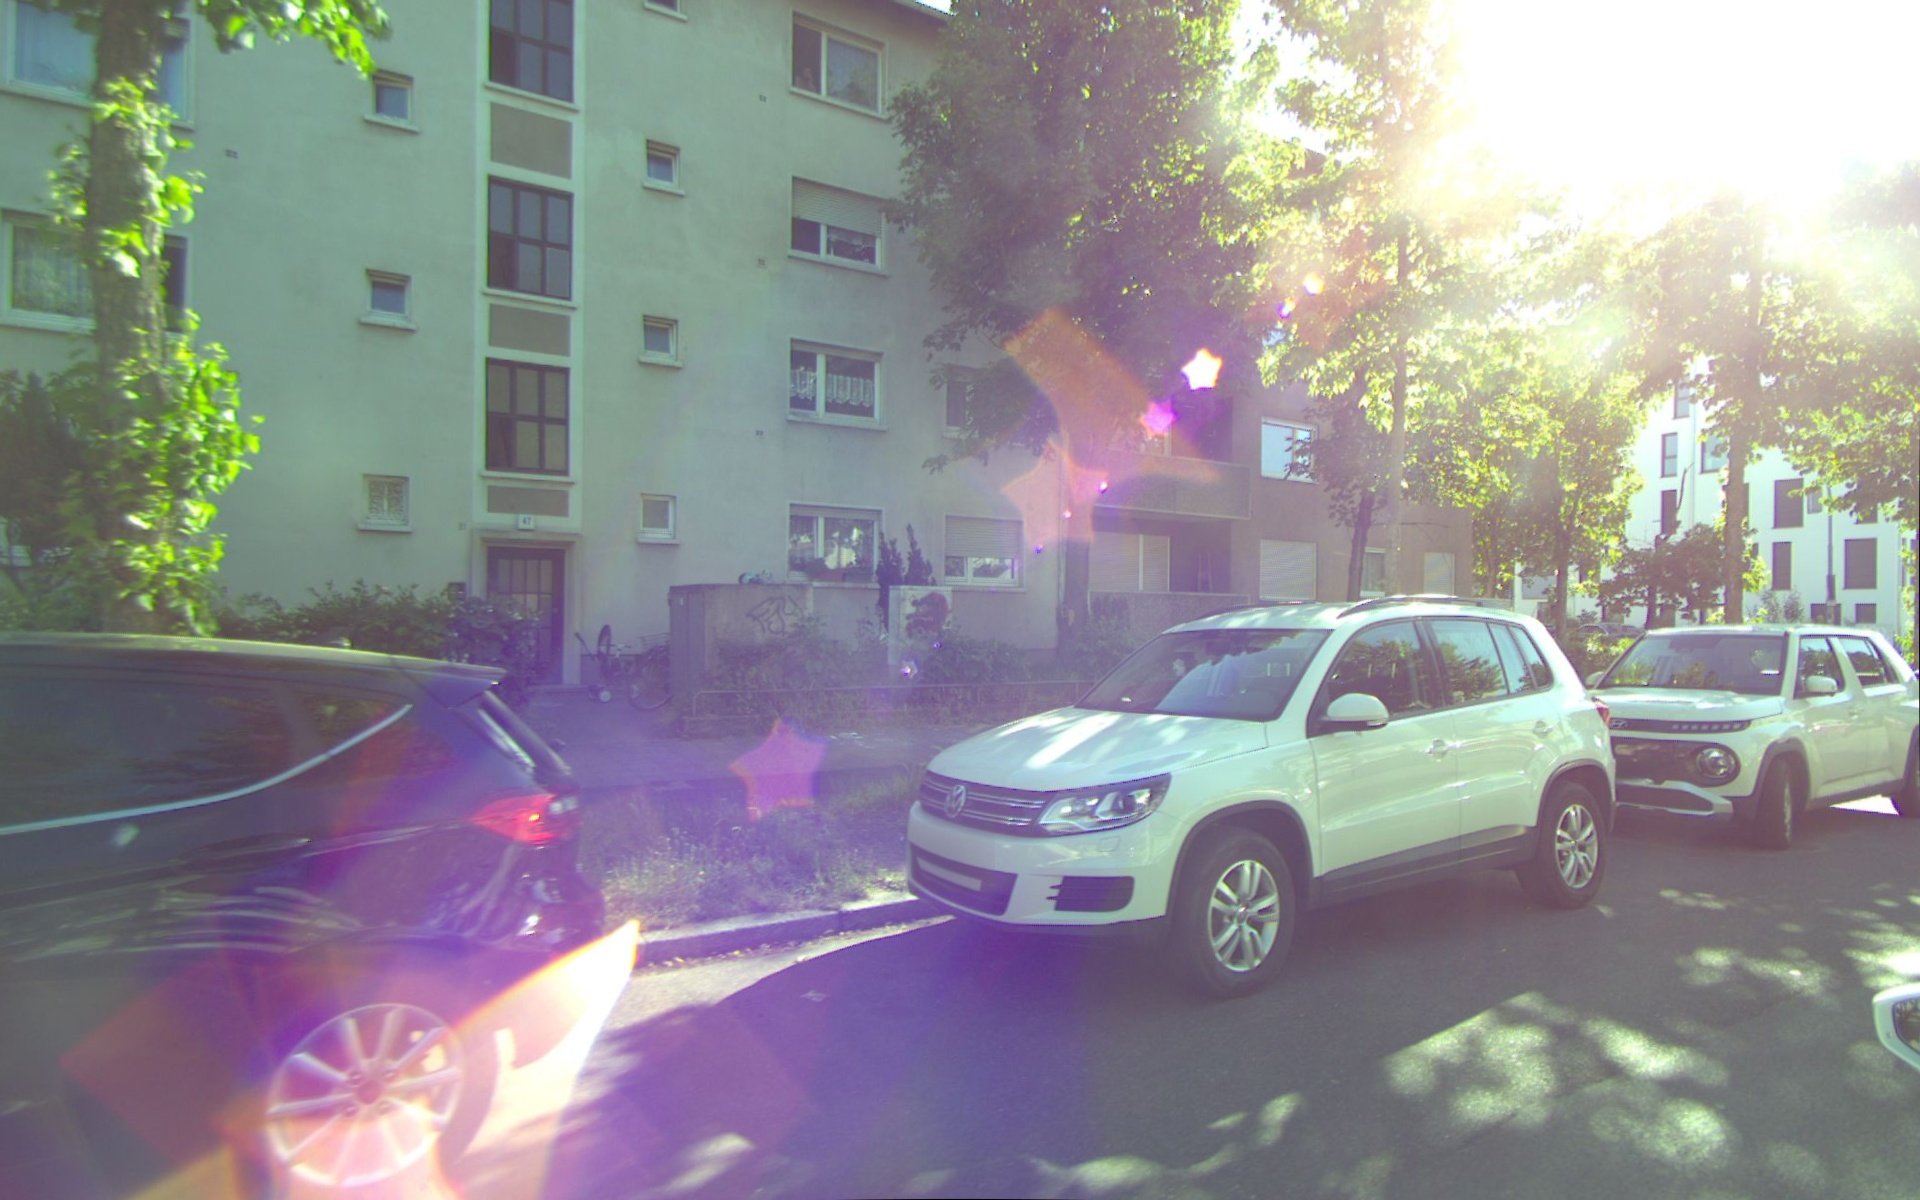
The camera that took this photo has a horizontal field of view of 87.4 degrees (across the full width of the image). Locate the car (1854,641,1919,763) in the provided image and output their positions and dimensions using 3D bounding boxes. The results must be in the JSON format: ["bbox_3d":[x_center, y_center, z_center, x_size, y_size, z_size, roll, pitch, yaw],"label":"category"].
[{"bbox_3d":[13.590,1.243,12.929,4.215,1.472,1.983,1,-4,-32],"label":"car"}]

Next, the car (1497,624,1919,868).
[{"bbox_3d":[6.366,1.015,8.228,3.885,1.564,1.702,1,-3,-31],"label":"car"}]

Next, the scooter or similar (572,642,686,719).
[{"bbox_3d":[-4.695,1.113,14.245,1.395,1.003,0.779,1,-1,-32],"label":"scooter or similar"}]

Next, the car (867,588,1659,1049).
[{"bbox_3d":[1.766,0.829,5.429,4.186,1.617,1.802,1,-2,-32],"label":"car"}]

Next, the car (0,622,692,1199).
[{"bbox_3d":[-2.868,0.813,2.639,3.865,1.462,1.753,1,-3,-32],"label":"car"}]

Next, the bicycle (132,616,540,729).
[{"bbox_3d":[-7.199,0.774,11.897,3.964,1.151,1.095,1,-2,-38],"label":"bicycle"}]

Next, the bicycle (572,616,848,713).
[{"bbox_3d":[-3.035,0.775,12.399,3.172,1.151,0.916,0,-1,3],"label":"bicycle"}]

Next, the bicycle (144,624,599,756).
[{"bbox_3d":[-5.943,0.832,10.498,3.964,1.151,1.095,1,-2,-38],"label":"bicycle"}]
